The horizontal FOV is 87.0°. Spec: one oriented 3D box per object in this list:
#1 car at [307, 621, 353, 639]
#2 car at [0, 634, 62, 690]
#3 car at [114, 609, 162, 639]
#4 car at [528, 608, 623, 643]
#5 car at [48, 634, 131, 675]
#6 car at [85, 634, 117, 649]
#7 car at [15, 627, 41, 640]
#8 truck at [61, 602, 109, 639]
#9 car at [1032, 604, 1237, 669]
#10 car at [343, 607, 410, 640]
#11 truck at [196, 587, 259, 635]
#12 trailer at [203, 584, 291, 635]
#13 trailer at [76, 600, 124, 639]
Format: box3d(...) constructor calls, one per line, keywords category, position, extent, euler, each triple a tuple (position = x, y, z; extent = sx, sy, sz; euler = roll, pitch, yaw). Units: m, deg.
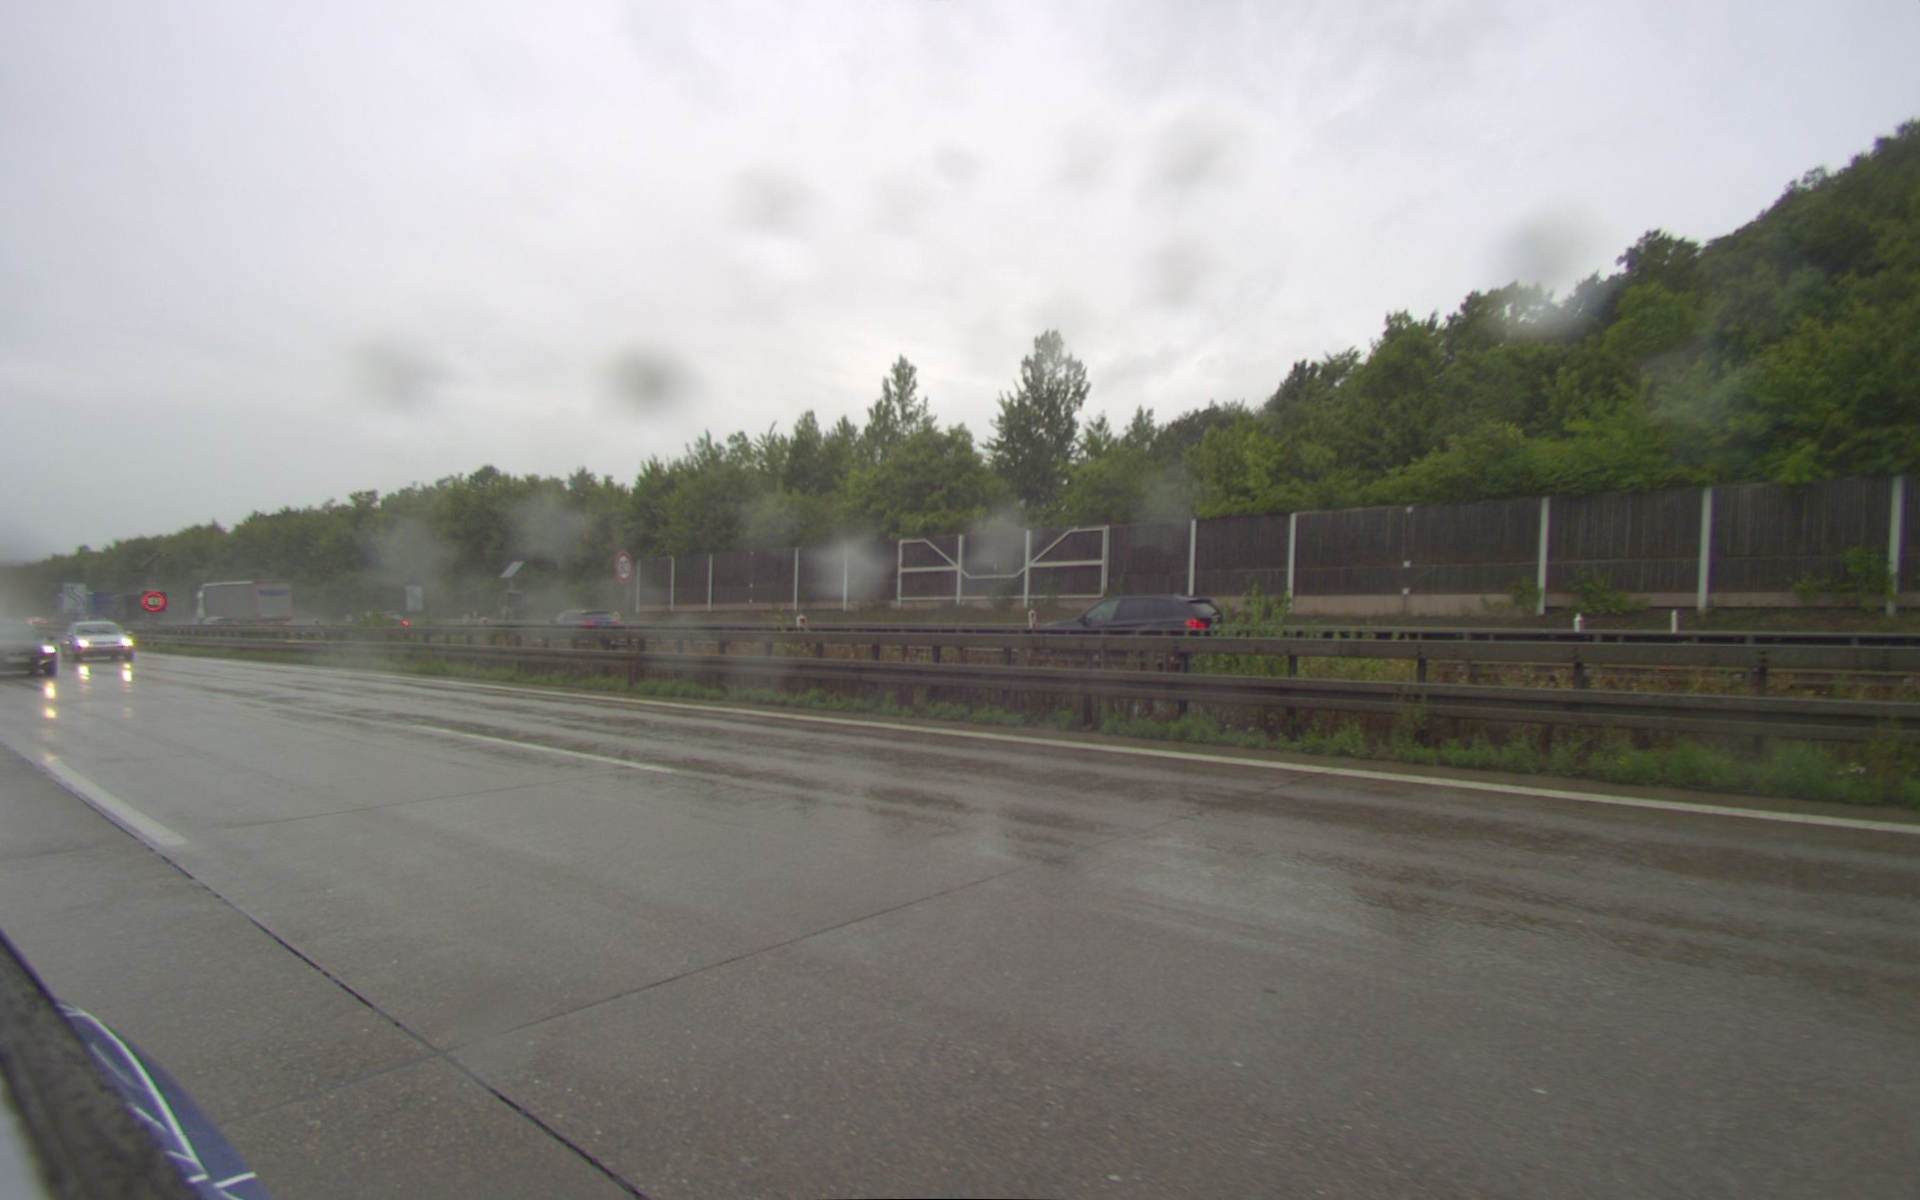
box3d(category="car", position=(-48.739, 2.318, 78.278), extent=(4.341, 1.313, 1.734), euler=(-2, 0, 41))
box3d(category="car", position=(-26.412, 1.653, 27.921), extent=(4.516, 1.445, 1.908), euler=(-2, -3, 42))
box3d(category="car", position=(-74.474, 2.198, 91.635), extent=(7.442, 2.586, 2.160), euler=(-2, 0, 42))
box3d(category="car", position=(-15.652, 1.043, 41.102), extent=(4.341, 1.313, 1.734), euler=(-2, 0, 41))
box3d(category="car", position=(-32.554, 1.998, 37.818), extent=(4.346, 1.445, 1.650), euler=(-2, -2, 40))
box3d(category="car", position=(-85.989, 4.121, 101.325), extent=(4.422, 1.349, 1.734), euler=(-2, 0, 41))
box3d(category="car", position=(-109.221, 3.932, 118.615), extent=(4.422, 1.349, 1.734), euler=(-2, 0, 41))
box3d(category="truck", position=(-104.403, 2.508, 120.635), extent=(10.172, 4.185, 2.819), euler=(-2, 0, 41))
box3d(category="car", position=(3.923, 0.814, 23.200), extent=(4.341, 1.313, 1.734), euler=(-2, 0, 41))
box3d(category="car", position=(-31.542, 1.291, 54.658), extent=(3.998, 1.697, 1.973), euler=(-2, -2, 41))
box3d(category="truck", position=(-62.279, 0.973, 85.972), extent=(7.678, 3.830, 2.746), euler=(-2, 0, 42))
box3d(category="trailer", position=(-58.033, 0.867, 82.155), extent=(13.773, 3.830, 2.738), euler=(-2, 0, 42))
box3d(category="trailer", position=(-97.344, 2.263, 114.502), extent=(8.520, 4.185, 2.819), euler=(-2, 0, 41))
